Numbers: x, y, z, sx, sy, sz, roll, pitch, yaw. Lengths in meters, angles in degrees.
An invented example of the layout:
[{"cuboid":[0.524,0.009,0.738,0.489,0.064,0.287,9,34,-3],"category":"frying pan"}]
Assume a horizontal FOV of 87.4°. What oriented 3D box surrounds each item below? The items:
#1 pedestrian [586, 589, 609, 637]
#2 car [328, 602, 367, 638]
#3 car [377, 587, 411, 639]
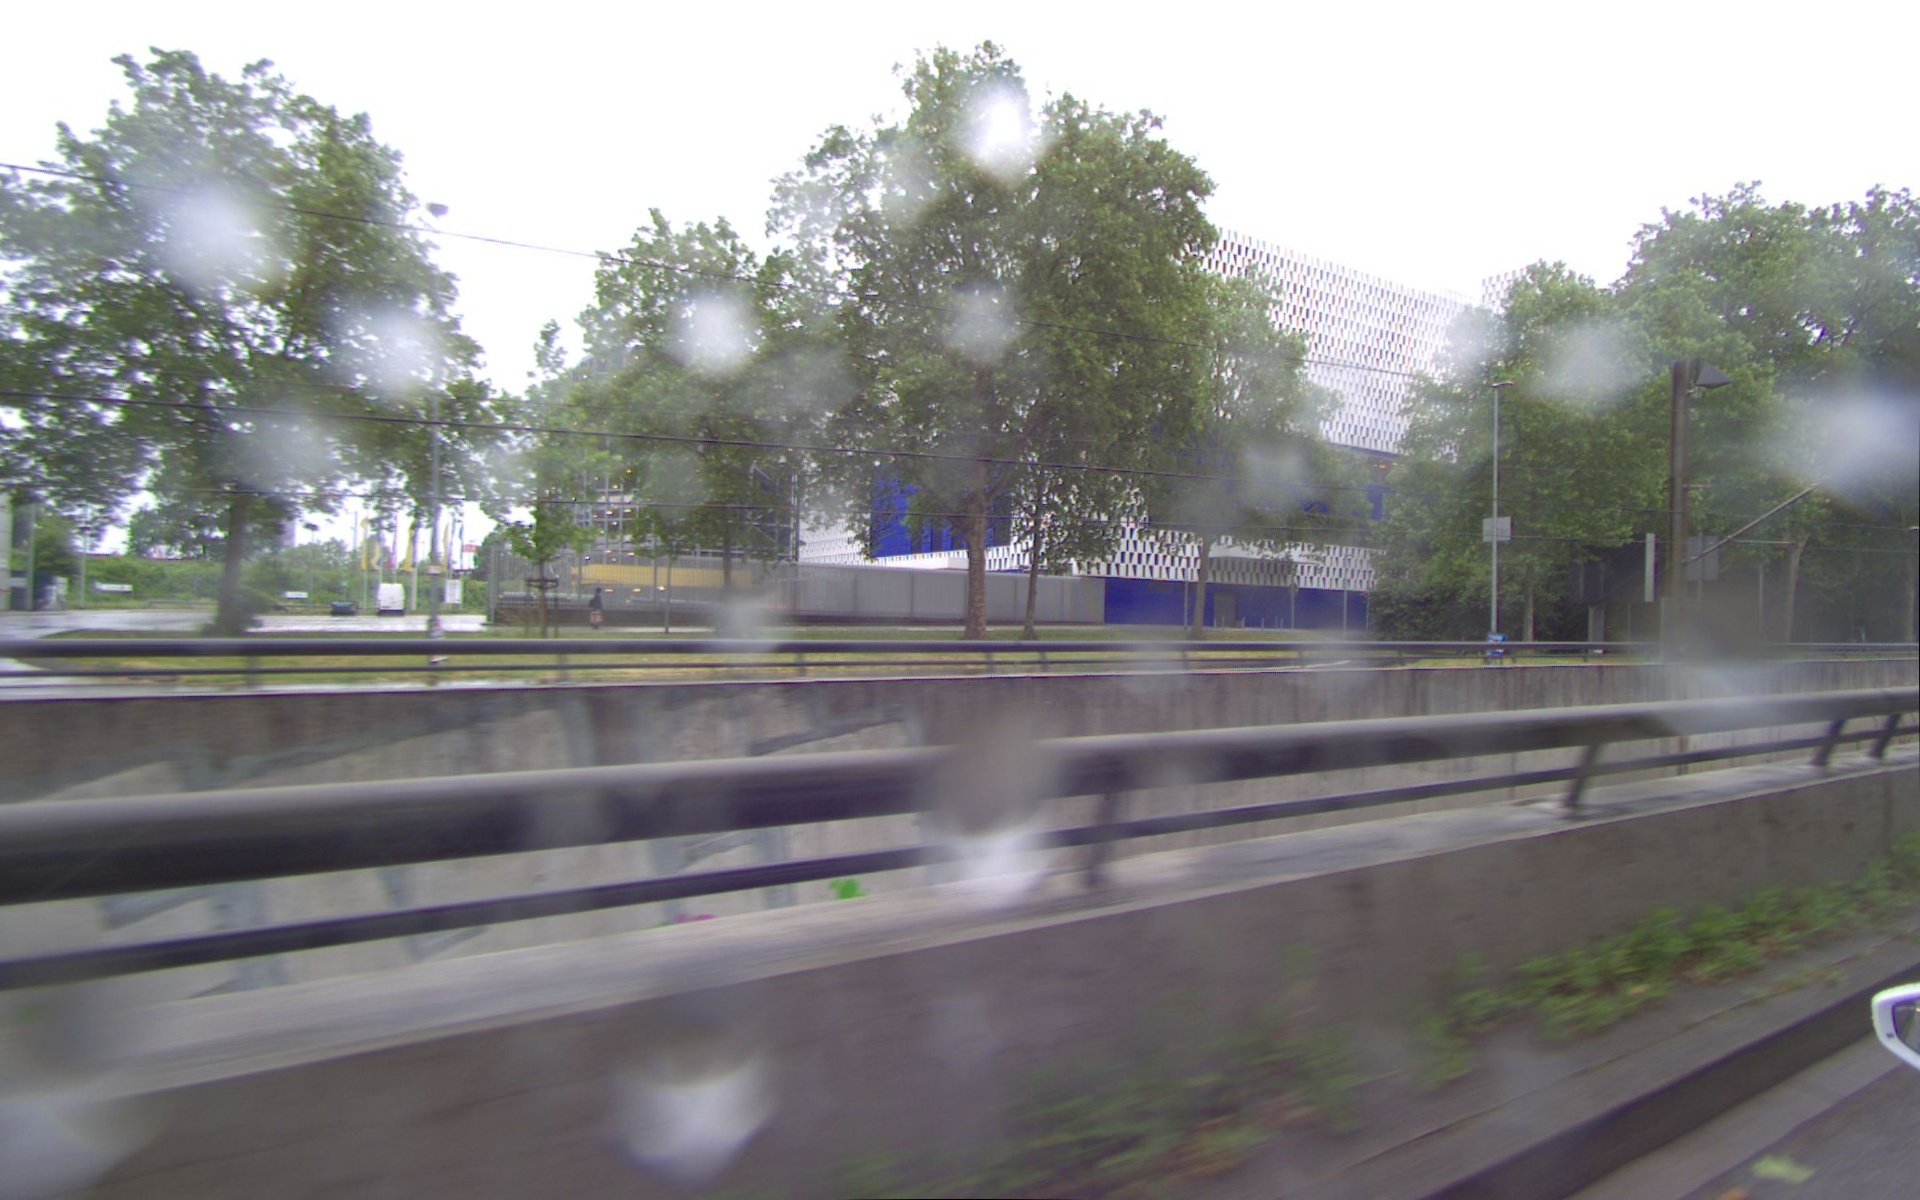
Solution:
[{"cuboid":[-15.797,0.565,43.763,0.780,2.041,0.997,1,1,-29],"category":"pedestrian"},{"cuboid":[-50.092,1.585,82.227,2.183,2.863,3.975,1,0,-25],"category":"car"},{"cuboid":[-46.872,1.037,83.093,2.189,4.160,5.309,1,0,-32],"category":"car"}]
